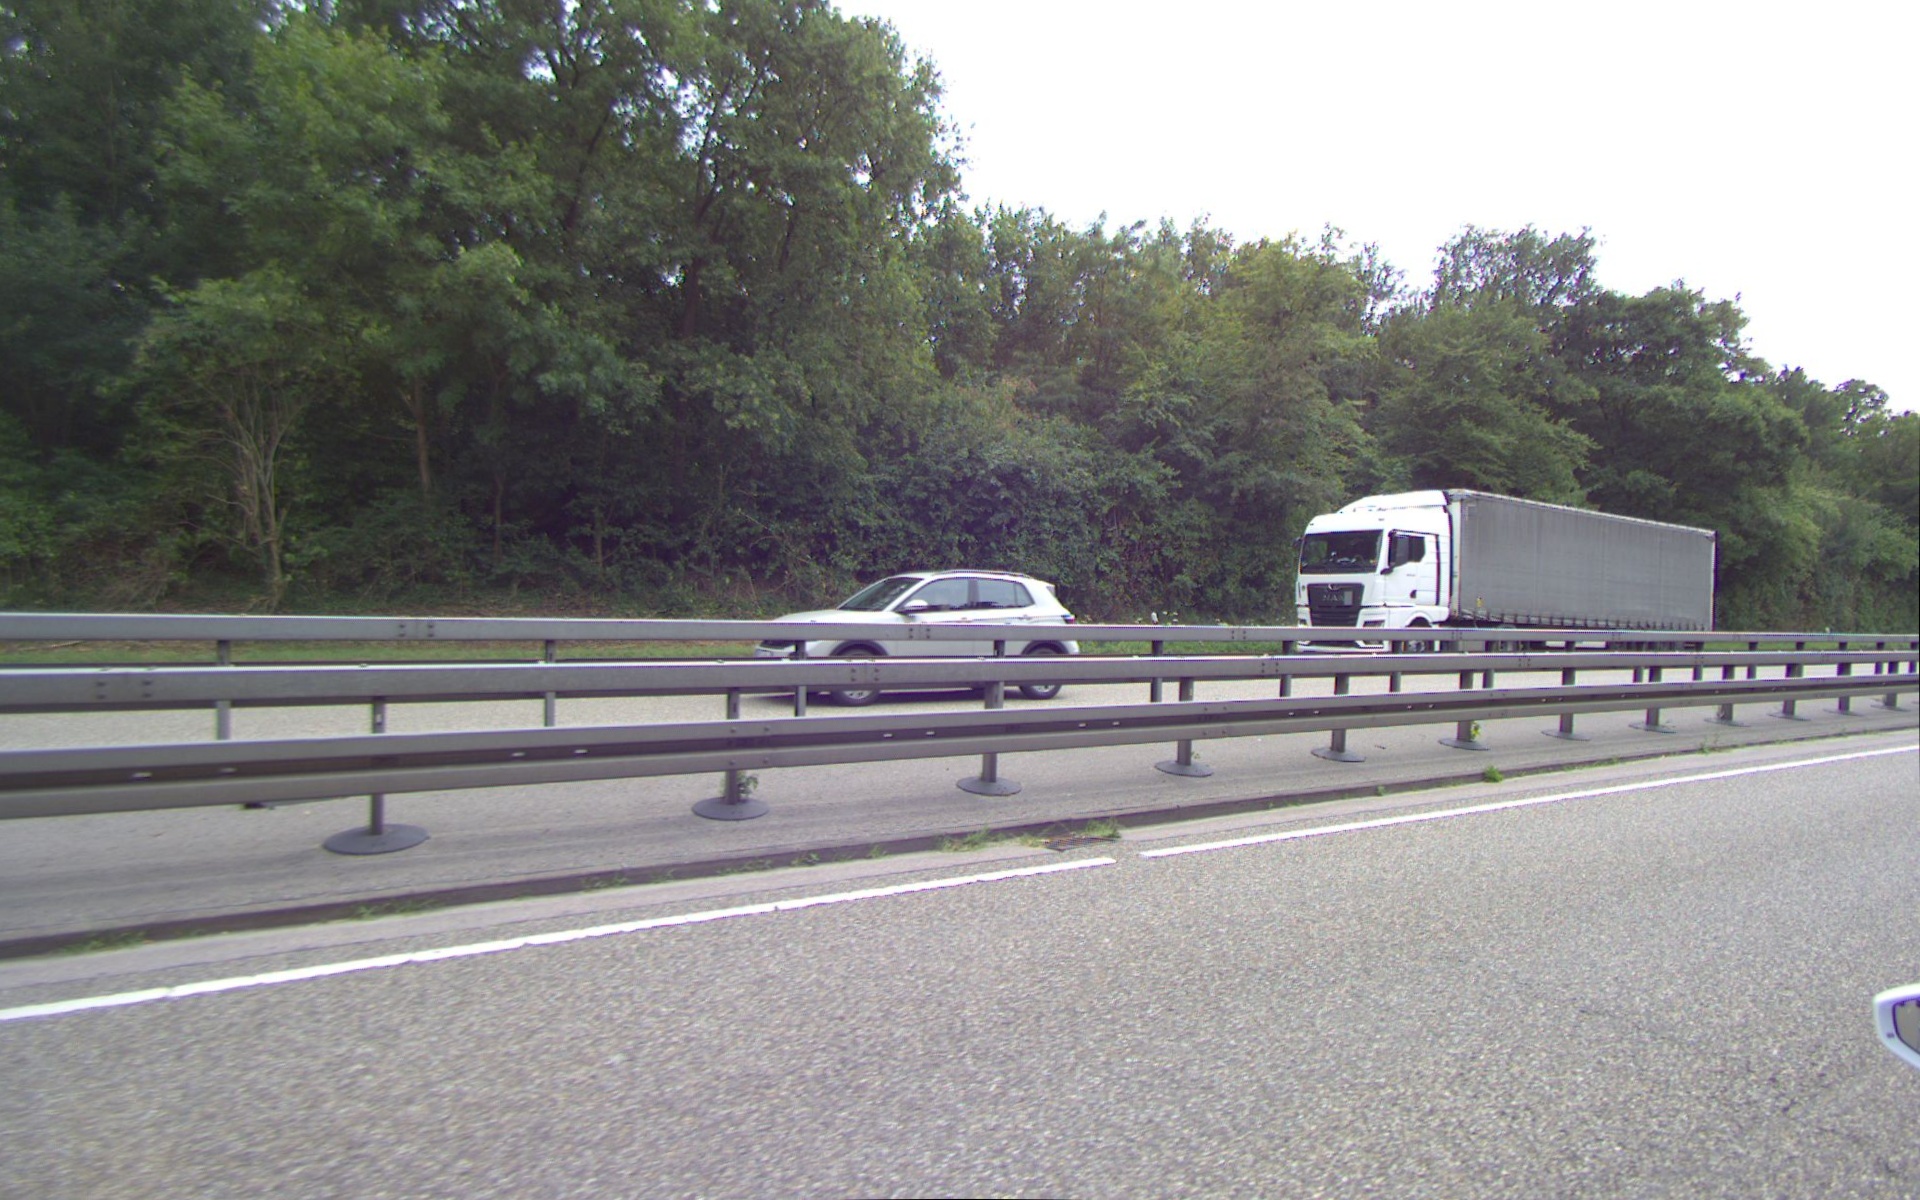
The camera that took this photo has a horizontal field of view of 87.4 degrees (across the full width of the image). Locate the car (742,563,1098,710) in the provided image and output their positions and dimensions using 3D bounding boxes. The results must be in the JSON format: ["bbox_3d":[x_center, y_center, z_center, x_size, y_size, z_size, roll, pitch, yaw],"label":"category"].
[{"bbox_3d":[-0.447,0.434,12.499,4.080,1.570,1.783,1,-1,-30],"label":"car"}]

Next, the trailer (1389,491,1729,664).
[{"bbox_3d":[17.246,-0.391,28.299,12.727,4.099,2.650,1,-1,-32],"label":"trailer"}]

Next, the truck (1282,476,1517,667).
[{"bbox_3d":[10.620,-0.552,24.187,5.263,4.117,2.678,1,-1,-32],"label":"truck"}]
